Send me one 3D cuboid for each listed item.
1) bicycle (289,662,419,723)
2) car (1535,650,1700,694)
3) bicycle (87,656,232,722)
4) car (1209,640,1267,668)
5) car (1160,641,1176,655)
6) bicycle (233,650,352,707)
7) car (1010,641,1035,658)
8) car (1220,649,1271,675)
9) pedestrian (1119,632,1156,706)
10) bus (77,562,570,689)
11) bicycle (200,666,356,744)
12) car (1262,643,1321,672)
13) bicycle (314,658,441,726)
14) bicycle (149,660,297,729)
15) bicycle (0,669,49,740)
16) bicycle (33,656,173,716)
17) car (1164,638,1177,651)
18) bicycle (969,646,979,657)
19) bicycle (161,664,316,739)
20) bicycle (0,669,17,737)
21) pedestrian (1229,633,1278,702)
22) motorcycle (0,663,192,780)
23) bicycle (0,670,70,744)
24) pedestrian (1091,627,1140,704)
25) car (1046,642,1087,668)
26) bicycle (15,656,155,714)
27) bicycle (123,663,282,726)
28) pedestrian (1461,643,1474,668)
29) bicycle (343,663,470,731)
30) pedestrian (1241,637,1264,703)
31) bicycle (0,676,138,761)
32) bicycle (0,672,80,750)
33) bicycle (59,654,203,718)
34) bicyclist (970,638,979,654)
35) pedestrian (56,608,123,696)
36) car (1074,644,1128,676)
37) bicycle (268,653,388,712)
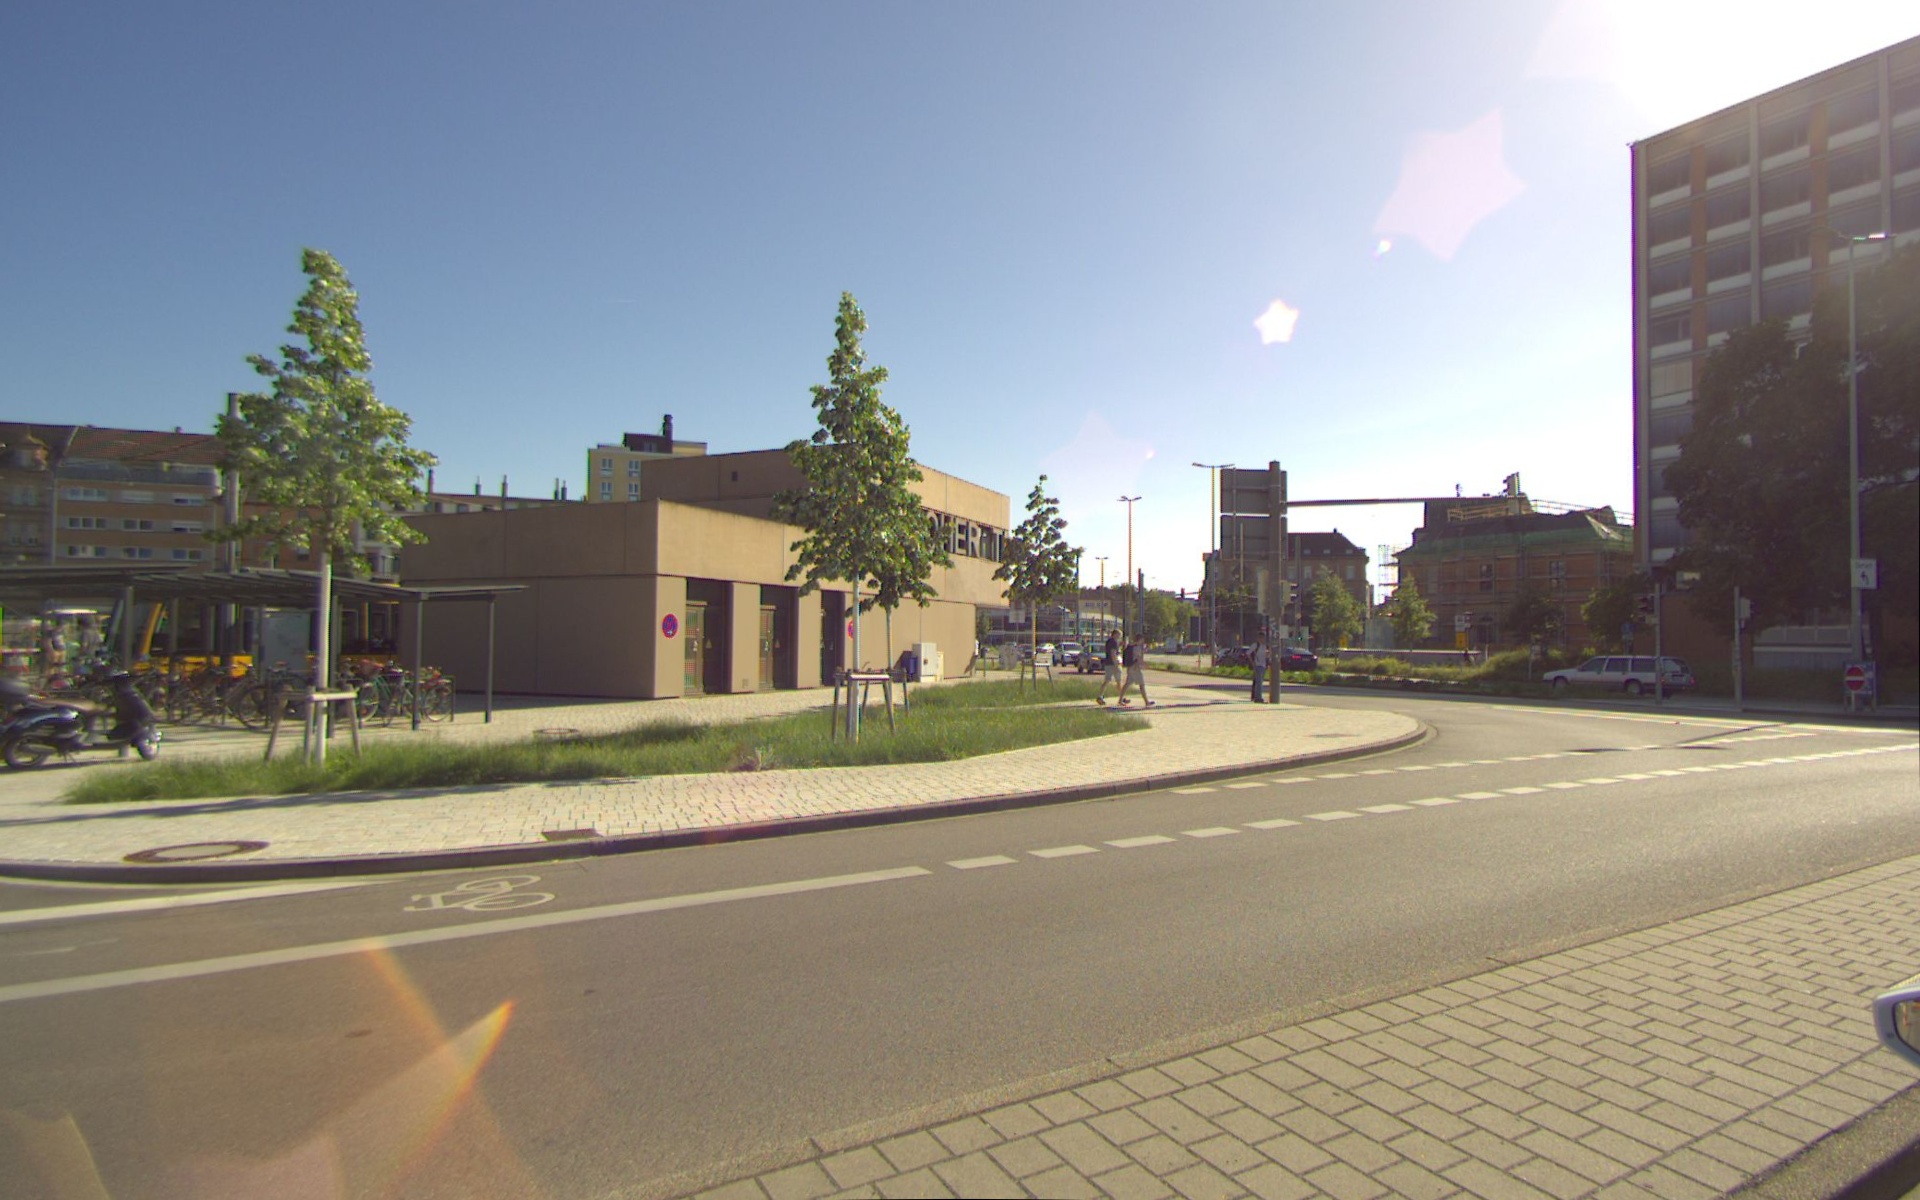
[{"bbox_3d":[-11.758,1.765,19.574,0.679,1.011,2.140,2,0,26],"label":"bicycle"},{"bbox_3d":[23.711,2.560,36.469,1.818,1.406,4.874,2,-2,-23],"label":"car"},{"bbox_3d":[-15.011,1.639,18.907,0.524,1.051,2.070,5,1,26],"label":"bicycle"},{"bbox_3d":[17.270,3.352,62.564,1.811,1.653,4.380,1,-2,-10],"label":"car"},{"bbox_3d":[31.604,7.276,152.681,1.959,2.040,4.003,0,-2,7],"label":"car"},{"bbox_3d":[-13.912,1.613,20.994,0.524,1.051,2.070,2,0,26],"label":"bicycle"},{"bbox_3d":[6.048,4.781,97.326,1.784,1.525,4.783,1,-2,-4],"label":"car"},{"bbox_3d":[19.693,4.292,69.472,1.810,1.653,4.382,1,-2,-8],"label":"car"},{"bbox_3d":[4.236,1.650,23.910,0.773,1.711,0.795,0,-5,18],"label":"pedestrian"},{"bbox_3d":[-18.452,0.867,31.305,2.810,3.112,13.620,0,-2,25],"label":"bus"},{"bbox_3d":[-10.898,1.648,16.135,0.524,1.051,2.070,2,0,26],"label":"bicycle"},{"bbox_3d":[20.710,3.570,62.904,1.810,1.653,4.382,1,-2,-8],"label":"car"},{"bbox_3d":[-10.792,1.681,18.700,0.594,1.093,2.053,2,0,25],"label":"bicycle"},{"bbox_3d":[-12.893,1.628,17.658,0.524,1.051,2.070,2,0,26],"label":"bicycle"},{"bbox_3d":[-14.195,1.524,14.377,0.399,0.985,1.683,2,0,22],"label":"bicycle"},{"bbox_3d":[-16.878,1.675,19.850,0.524,1.051,2.070,-2,-2,26],"label":"bicycle"},{"bbox_3d":[34.885,7.354,166.422,1.959,2.040,4.003,0,-2,11],"label":"car"},{"bbox_3d":[1.353,4.948,96.226,0.727,1.008,1.990,0,-4,-5],"label":"bicycle"},{"bbox_3d":[-11.930,1.652,16.695,0.524,1.051,2.070,2,0,26],"label":"bicycle"},{"bbox_3d":[-14.712,1.539,14.427,0.399,0.985,1.683,2,0,22],"label":"bicycle"},{"bbox_3d":[7.489,1.726,25.640,0.831,1.711,0.896,5,-5,-34],"label":"pedestrian"},{"bbox_3d":[-10.843,1.445,12.478,0.558,1.235,2.087,0,-1,21],"label":"motorcycle"},{"bbox_3d":[-13.690,1.530,14.176,0.399,0.985,1.683,2,0,22],"label":"bicycle"},{"bbox_3d":[3.793,1.599,24.565,1.081,1.822,0.705,1,-4,-1],"label":"pedestrian"},{"bbox_3d":[7.333,3.815,69.547,1.810,1.640,4.699,3,-4,-7],"label":"car"},{"bbox_3d":[-17.766,1.696,20.459,0.524,1.051,2.070,5,0,26],"label":"bicycle"},{"bbox_3d":[-13.703,1.676,18.263,0.673,0.956,2.233,2,0,25],"label":"bicycle"},{"bbox_3d":[33.330,3.621,65.936,0.636,1.637,0.548,0,-2,10],"label":"pedestrian"},{"bbox_3d":[-9.962,1.719,18.163,0.524,1.051,2.070,2,0,26],"label":"bicycle"},{"bbox_3d":[7.881,1.869,27.085,0.585,1.751,0.580,0,-2,14],"label":"pedestrian"},{"bbox_3d":[-12.197,1.572,13.580,0.399,0.985,1.683,2,0,22],"label":"bicycle"},{"bbox_3d":[-13.225,1.542,13.814,0.399,0.985,1.683,2,0,22],"label":"bicycle"},{"bbox_3d":[-15.897,1.622,19.322,0.524,1.051,2.070,5,1,26],"label":"bicycle"},{"bbox_3d":[1.367,4.416,96.256,0.727,1.519,1.072,0,-3,-5],"label":"bicyclist"},{"bbox_3d":[-19.678,1.173,22.721,0.787,1.942,0.770,0,-2,8],"label":"pedestrian"},{"bbox_3d":[7.486,3.198,53.823,1.760,1.602,4.253,0,-3,-8],"label":"car"},{"bbox_3d":[-12.737,1.646,20.330,0.524,1.051,2.070,2,0,26],"label":"bicycle"}]
